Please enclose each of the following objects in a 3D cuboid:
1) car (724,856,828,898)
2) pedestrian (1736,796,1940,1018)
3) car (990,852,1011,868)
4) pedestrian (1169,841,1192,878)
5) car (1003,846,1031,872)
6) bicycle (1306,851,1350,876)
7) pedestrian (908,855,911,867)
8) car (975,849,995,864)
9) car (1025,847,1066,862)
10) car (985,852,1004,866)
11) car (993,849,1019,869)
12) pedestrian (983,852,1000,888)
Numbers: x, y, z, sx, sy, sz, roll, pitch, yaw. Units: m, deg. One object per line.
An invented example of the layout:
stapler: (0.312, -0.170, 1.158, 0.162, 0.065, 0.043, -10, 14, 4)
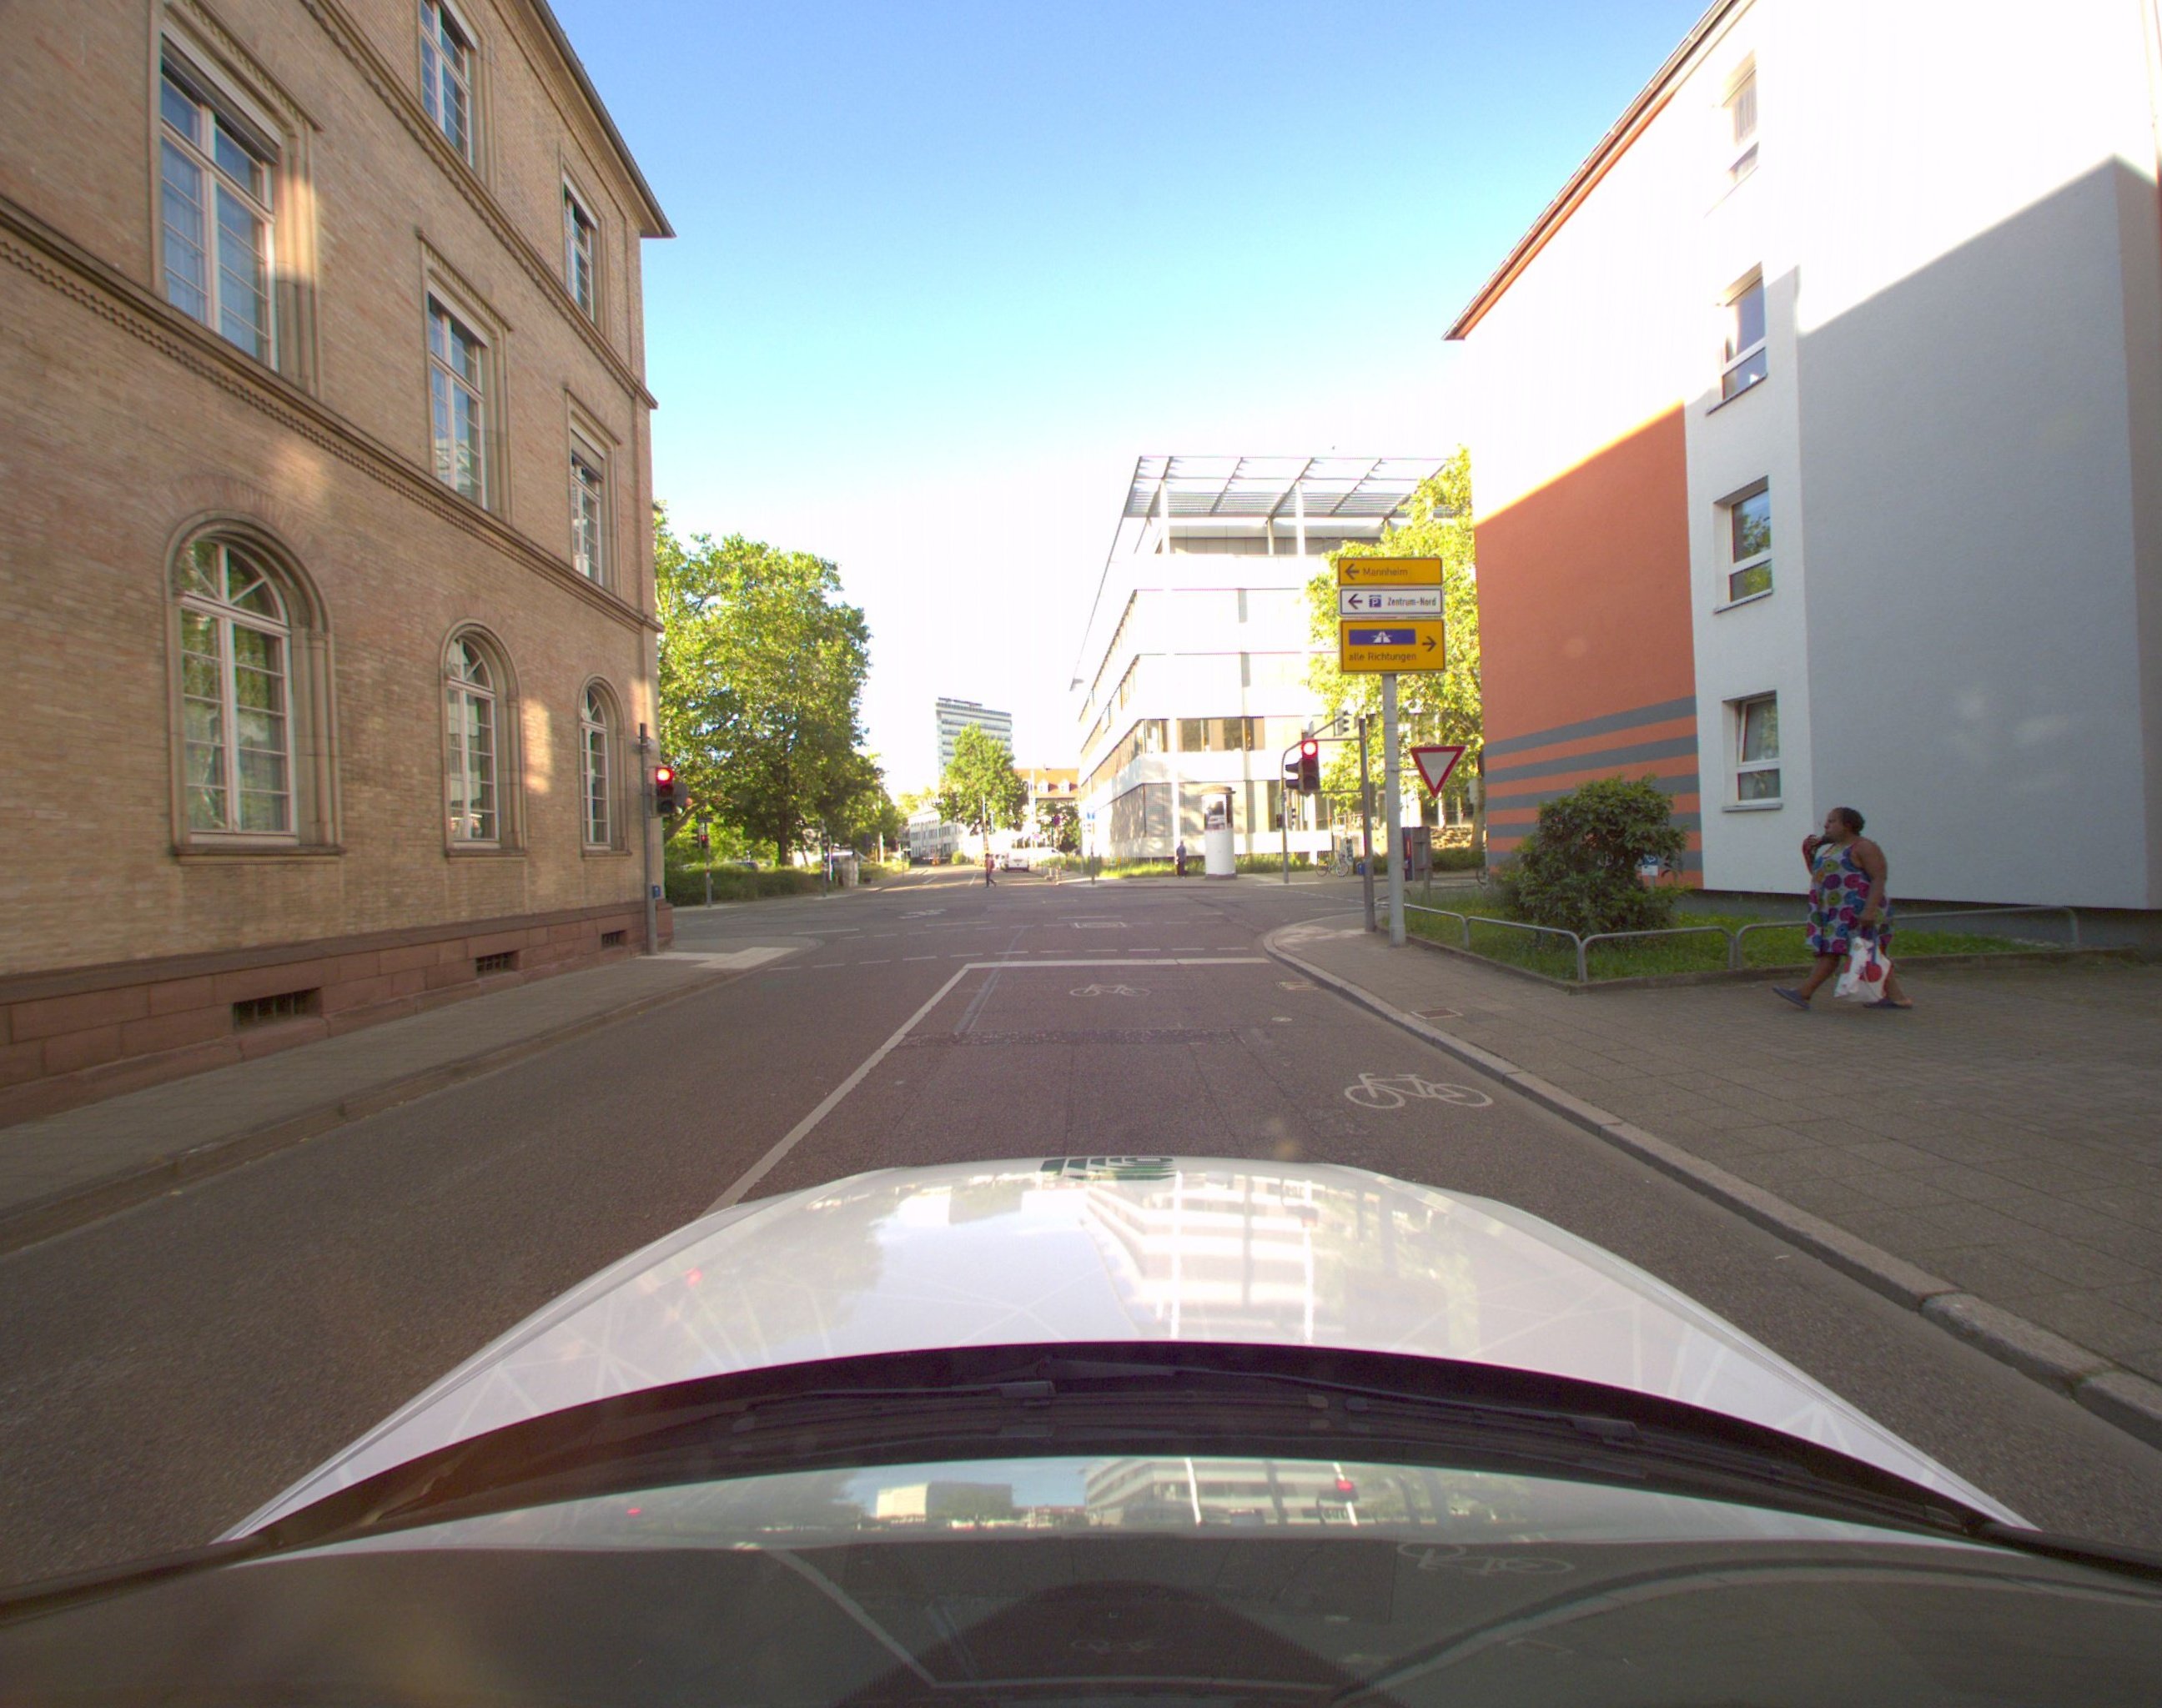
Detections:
car: (-14.404, 1.057, 38.660, 4.219, 1.777, 1.901, -2, 0, -7)
pedestrian: (5.837, 0.383, 6.350, 0.742, 1.573, 0.961, -4, 0, 16)
car: (-8.115, 0.585, 81.755, 1.705, 1.424, 4.221, -2, 0, -11)
pedestrian: (4.767, 0.251, 38.878, 0.658, 1.736, 0.802, -2, 0, -43)
car: (-5.136, 0.374, 64.958, 2.065, 1.963, 4.228, -2, 0, -7)
bicycle: (10.898, 0.421, 36.021, 0.467, 1.049, 1.893, -2, 0, -40)
pedestrian: (-23.258, 0.935, 110.295, 0.380, 1.534, 0.444, -2, 0, -10)
car: (-11.324, 0.315, 96.147, 2.100, 1.658, 4.461, -2, 0, -9)
car: (-4.550, 0.038, 103.185, 4.889, 1.872, 1.990, -1, -1, -15)
car: (-9.208, 0.521, 86.266, 1.704, 1.464, 4.225, -2, 0, -9)
car: (-7.107, 0.452, 76.932, 1.947, 1.795, 4.223, -2, 0, -11)
pedestrian: (-4.065, 0.730, 36.996, 0.711, 1.599, 0.616, -2, 0, -6)
